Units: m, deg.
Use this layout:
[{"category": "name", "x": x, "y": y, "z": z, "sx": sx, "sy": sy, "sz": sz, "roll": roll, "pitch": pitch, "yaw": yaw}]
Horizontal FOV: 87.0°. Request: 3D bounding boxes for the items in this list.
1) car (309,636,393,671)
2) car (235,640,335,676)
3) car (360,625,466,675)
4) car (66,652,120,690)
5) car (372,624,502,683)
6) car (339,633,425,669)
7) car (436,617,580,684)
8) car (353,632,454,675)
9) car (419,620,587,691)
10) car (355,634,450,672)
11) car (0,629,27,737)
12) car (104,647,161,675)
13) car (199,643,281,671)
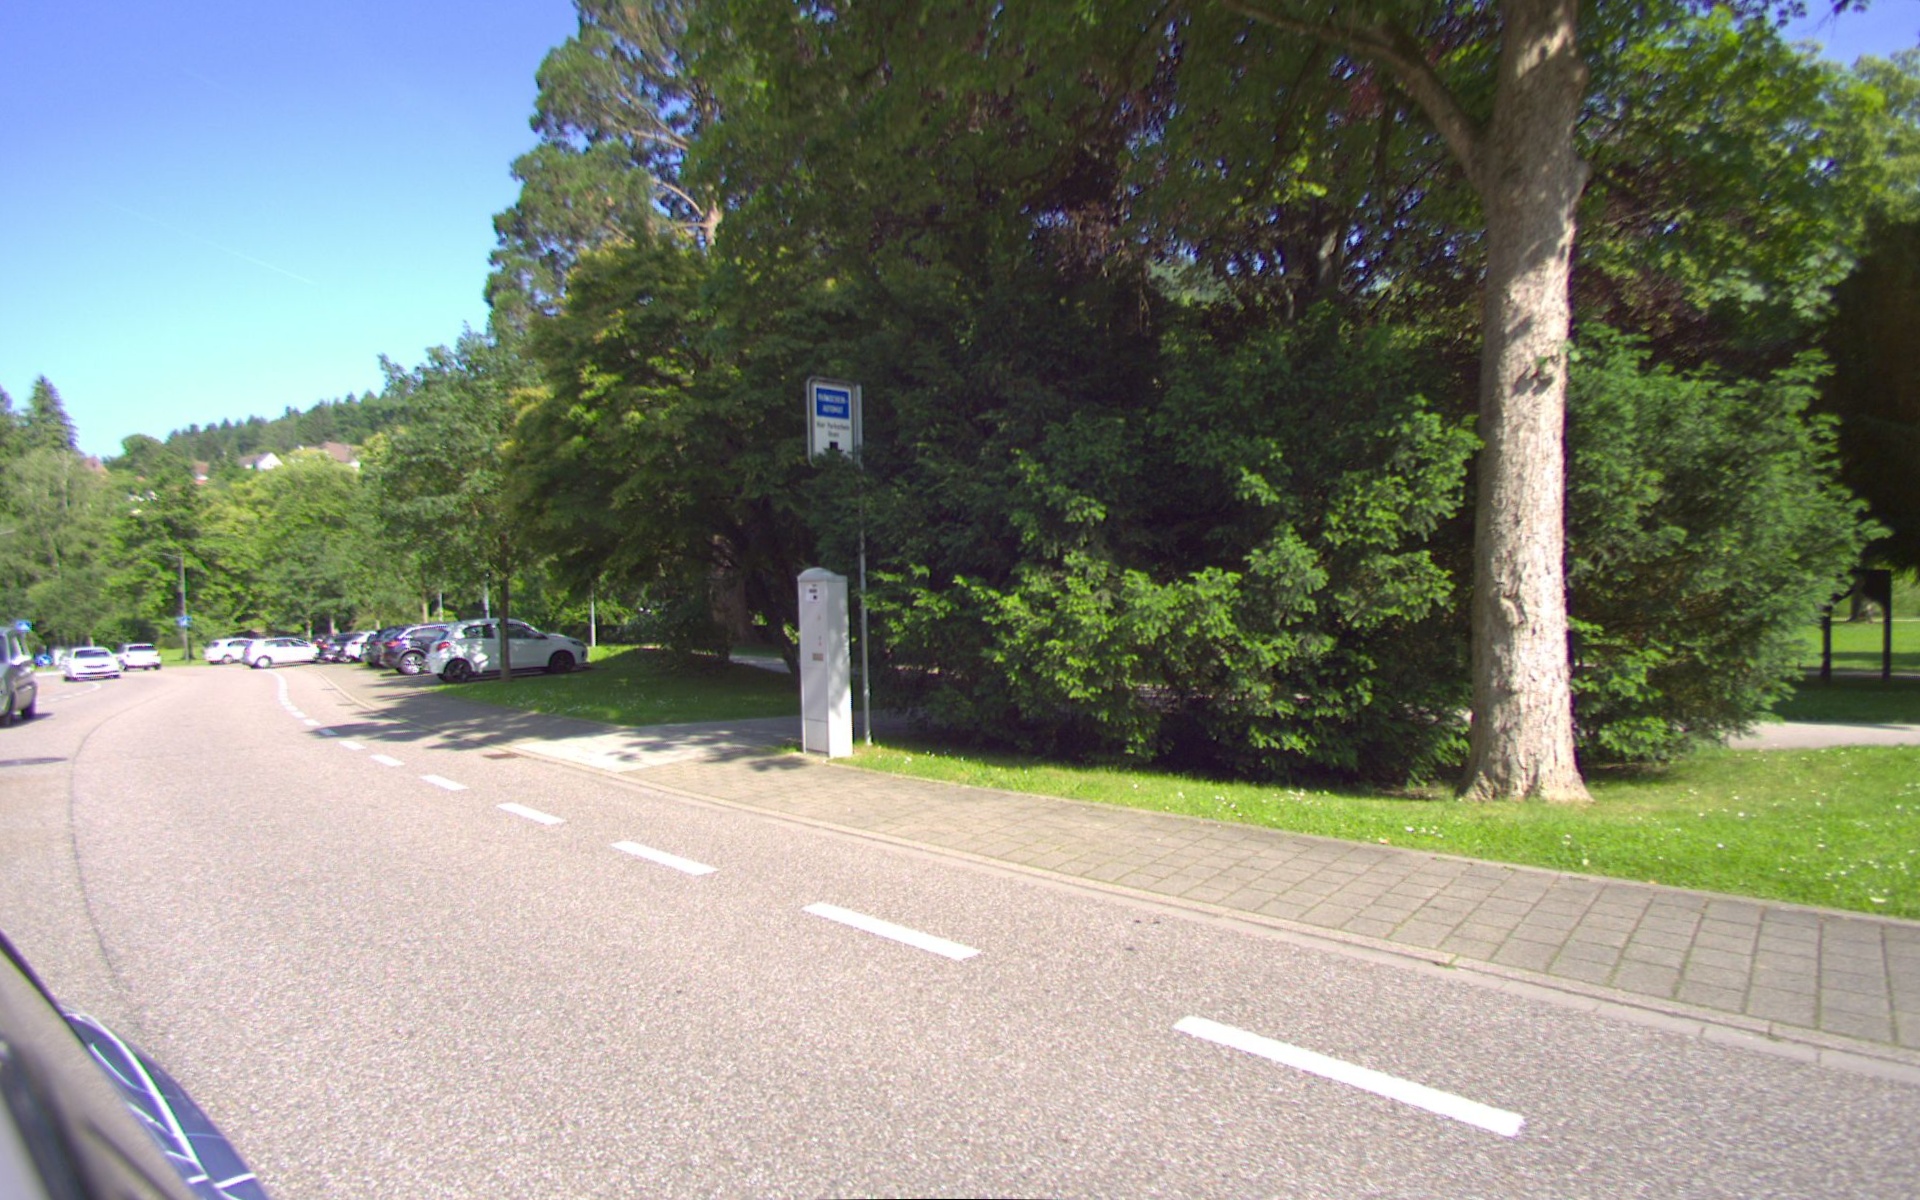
[{"category": "car", "x": -30.271, "y": 2.625, "z": 50.312, "sx": 3.436, "sy": 1.436, "sz": 1.557, "roll": -4, "pitch": 0, "yaw": -35}, {"category": "car", "x": -34.192, "y": 2.909, "z": 51.333, "sx": 1.517, "sy": 1.408, "sz": 3.943, "roll": -4, "pitch": 0, "yaw": 44}, {"category": "car", "x": -21.256, "y": 1.928, "z": 39.354, "sx": 3.436, "sy": 1.632, "sz": 1.383, "roll": -4, "pitch": 0, "yaw": -35}, {"category": "car", "x": -38.516, "y": 3.110, "z": 45.012, "sx": 1.714, "sy": 1.508, "sz": 3.936, "roll": 0, "pitch": -2, "yaw": -39}, {"category": "car", "x": -16.456, "y": 1.662, "z": 31.894, "sx": 3.436, "sy": 1.557, "sz": 1.447, "roll": -3, "pitch": 0, "yaw": -35}, {"category": "car", "x": -27.837, "y": 2.417, "z": 48.769, "sx": 3.436, "sy": 1.436, "sz": 1.557, "roll": -4, "pitch": 0, "yaw": -35}, {"category": "car", "x": -12.679, "y": 1.383, "z": 28.432, "sx": 3.436, "sy": 1.564, "sz": 1.383, "roll": -3, "pitch": 0, "yaw": -35}, {"category": "car", "x": -22.830, "y": 2.150, "z": 41.516, "sx": 3.436, "sy": 1.436, "sz": 1.557, "roll": -4, "pitch": 0, "yaw": -35}, {"category": "car", "x": -11.615, "y": 1.366, "z": 25.782, "sx": 3.628, "sy": 1.498, "sz": 1.570, "roll": -3, "pitch": 0, "yaw": -35}, {"category": "car", "x": -24.252, "y": 2.288, "z": 44.034, "sx": 3.436, "sy": 1.311, "sz": 1.557, "roll": -4, "pitch": 0, "yaw": -35}, {"category": "car", "x": -16.491, "y": 1.325, "z": 16.570, "sx": 1.580, "sy": 1.650, "sz": 4.006, "roll": 0, "pitch": -2, "yaw": -40}, {"category": "car", "x": -48.531, "y": 3.600, "z": 59.357, "sx": 3.994, "sy": 1.516, "sz": 1.754, "roll": -3, "pitch": -2, "yaw": 38}, {"category": "car", "x": -45.707, "y": 3.602, "z": 64.317, "sx": 1.510, "sy": 1.488, "sz": 3.958, "roll": -4, "pitch": 0, "yaw": 31}]
